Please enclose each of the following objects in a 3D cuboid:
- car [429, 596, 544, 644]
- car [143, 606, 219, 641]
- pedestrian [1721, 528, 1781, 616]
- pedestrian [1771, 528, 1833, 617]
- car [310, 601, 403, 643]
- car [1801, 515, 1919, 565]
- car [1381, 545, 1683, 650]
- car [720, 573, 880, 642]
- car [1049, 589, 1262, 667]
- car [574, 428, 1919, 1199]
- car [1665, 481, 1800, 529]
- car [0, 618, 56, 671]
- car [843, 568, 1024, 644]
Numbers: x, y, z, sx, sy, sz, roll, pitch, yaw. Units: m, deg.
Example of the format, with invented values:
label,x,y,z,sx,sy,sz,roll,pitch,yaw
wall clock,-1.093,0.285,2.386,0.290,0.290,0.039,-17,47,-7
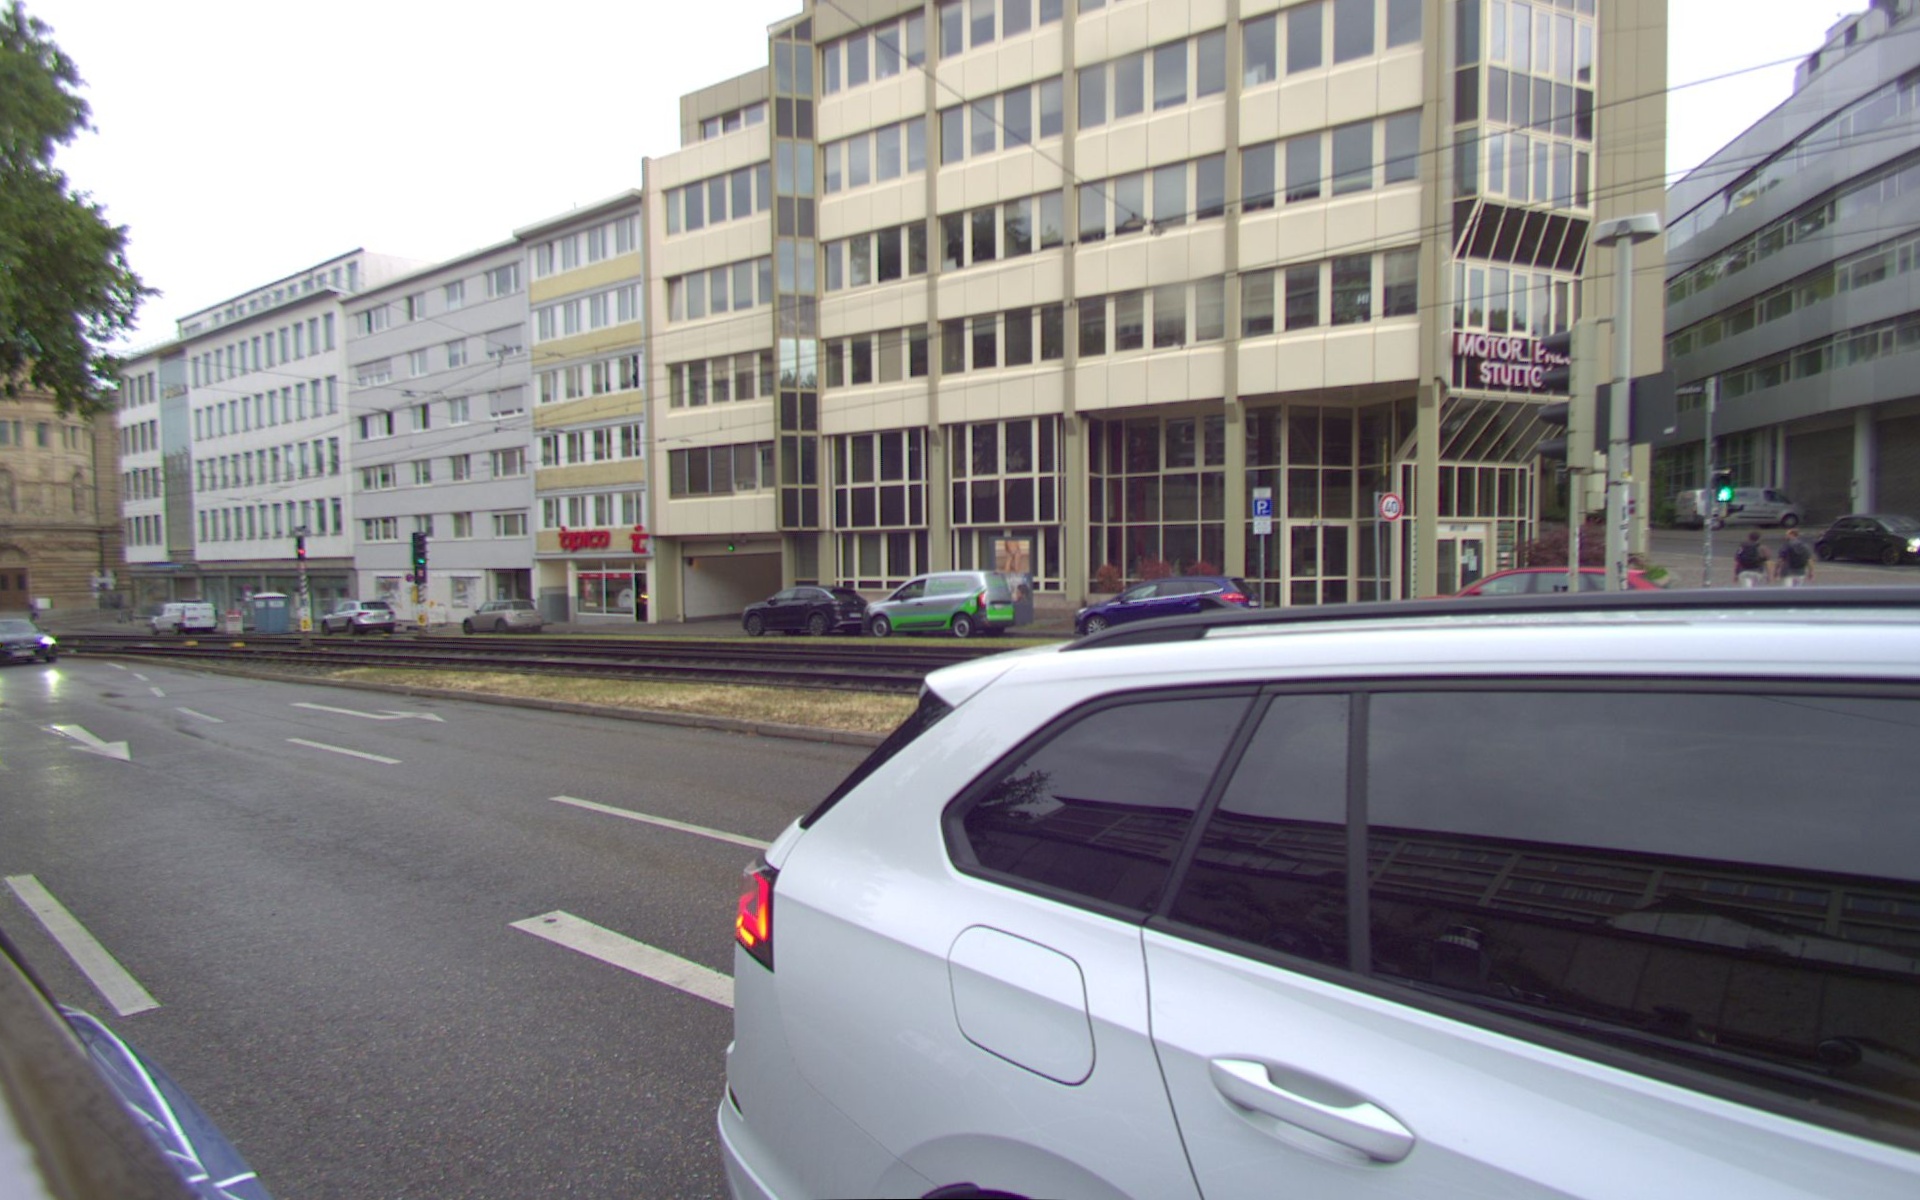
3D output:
label,x,y,z,sx,sy,sz,roll,pitch,yaw
car,-19.087,0.770,40.716,4.682,1.686,1.978,0,4,34
car,-46.774,1.365,60.757,5.117,1.856,1.978,0,4,34
pedestrian,16.581,-0.583,21.230,0.804,1.800,0.637,-1,3,18
pedestrian,17.510,-0.580,21.061,0.804,1.800,0.637,-1,3,18
car,-28.281,1.044,47.398,4.686,1.686,1.976,-2,3,36
car,27.729,-1.798,30.157,1.803,1.374,4.004,-2,3,-3
car,9.892,-0.073,17.832,4.397,1.652,1.968,-1,2,29
car,-4.927,0.188,30.920,4.682,1.863,1.978,0,4,34
car,4.605,0.599,24.028,4.536,1.593,1.978,0,4,34
car,1.398,0.645,1.231,4.251,1.588,1.662,-1,1,41
car,37.221,-4.563,48.889,4.779,2.028,1.996,-2,3,8
car,-29.777,1.384,31.292,4.638,1.478,1.974,-2,2,39
car,-0.763,0.126,27.942,4.682,1.863,1.978,0,4,34
